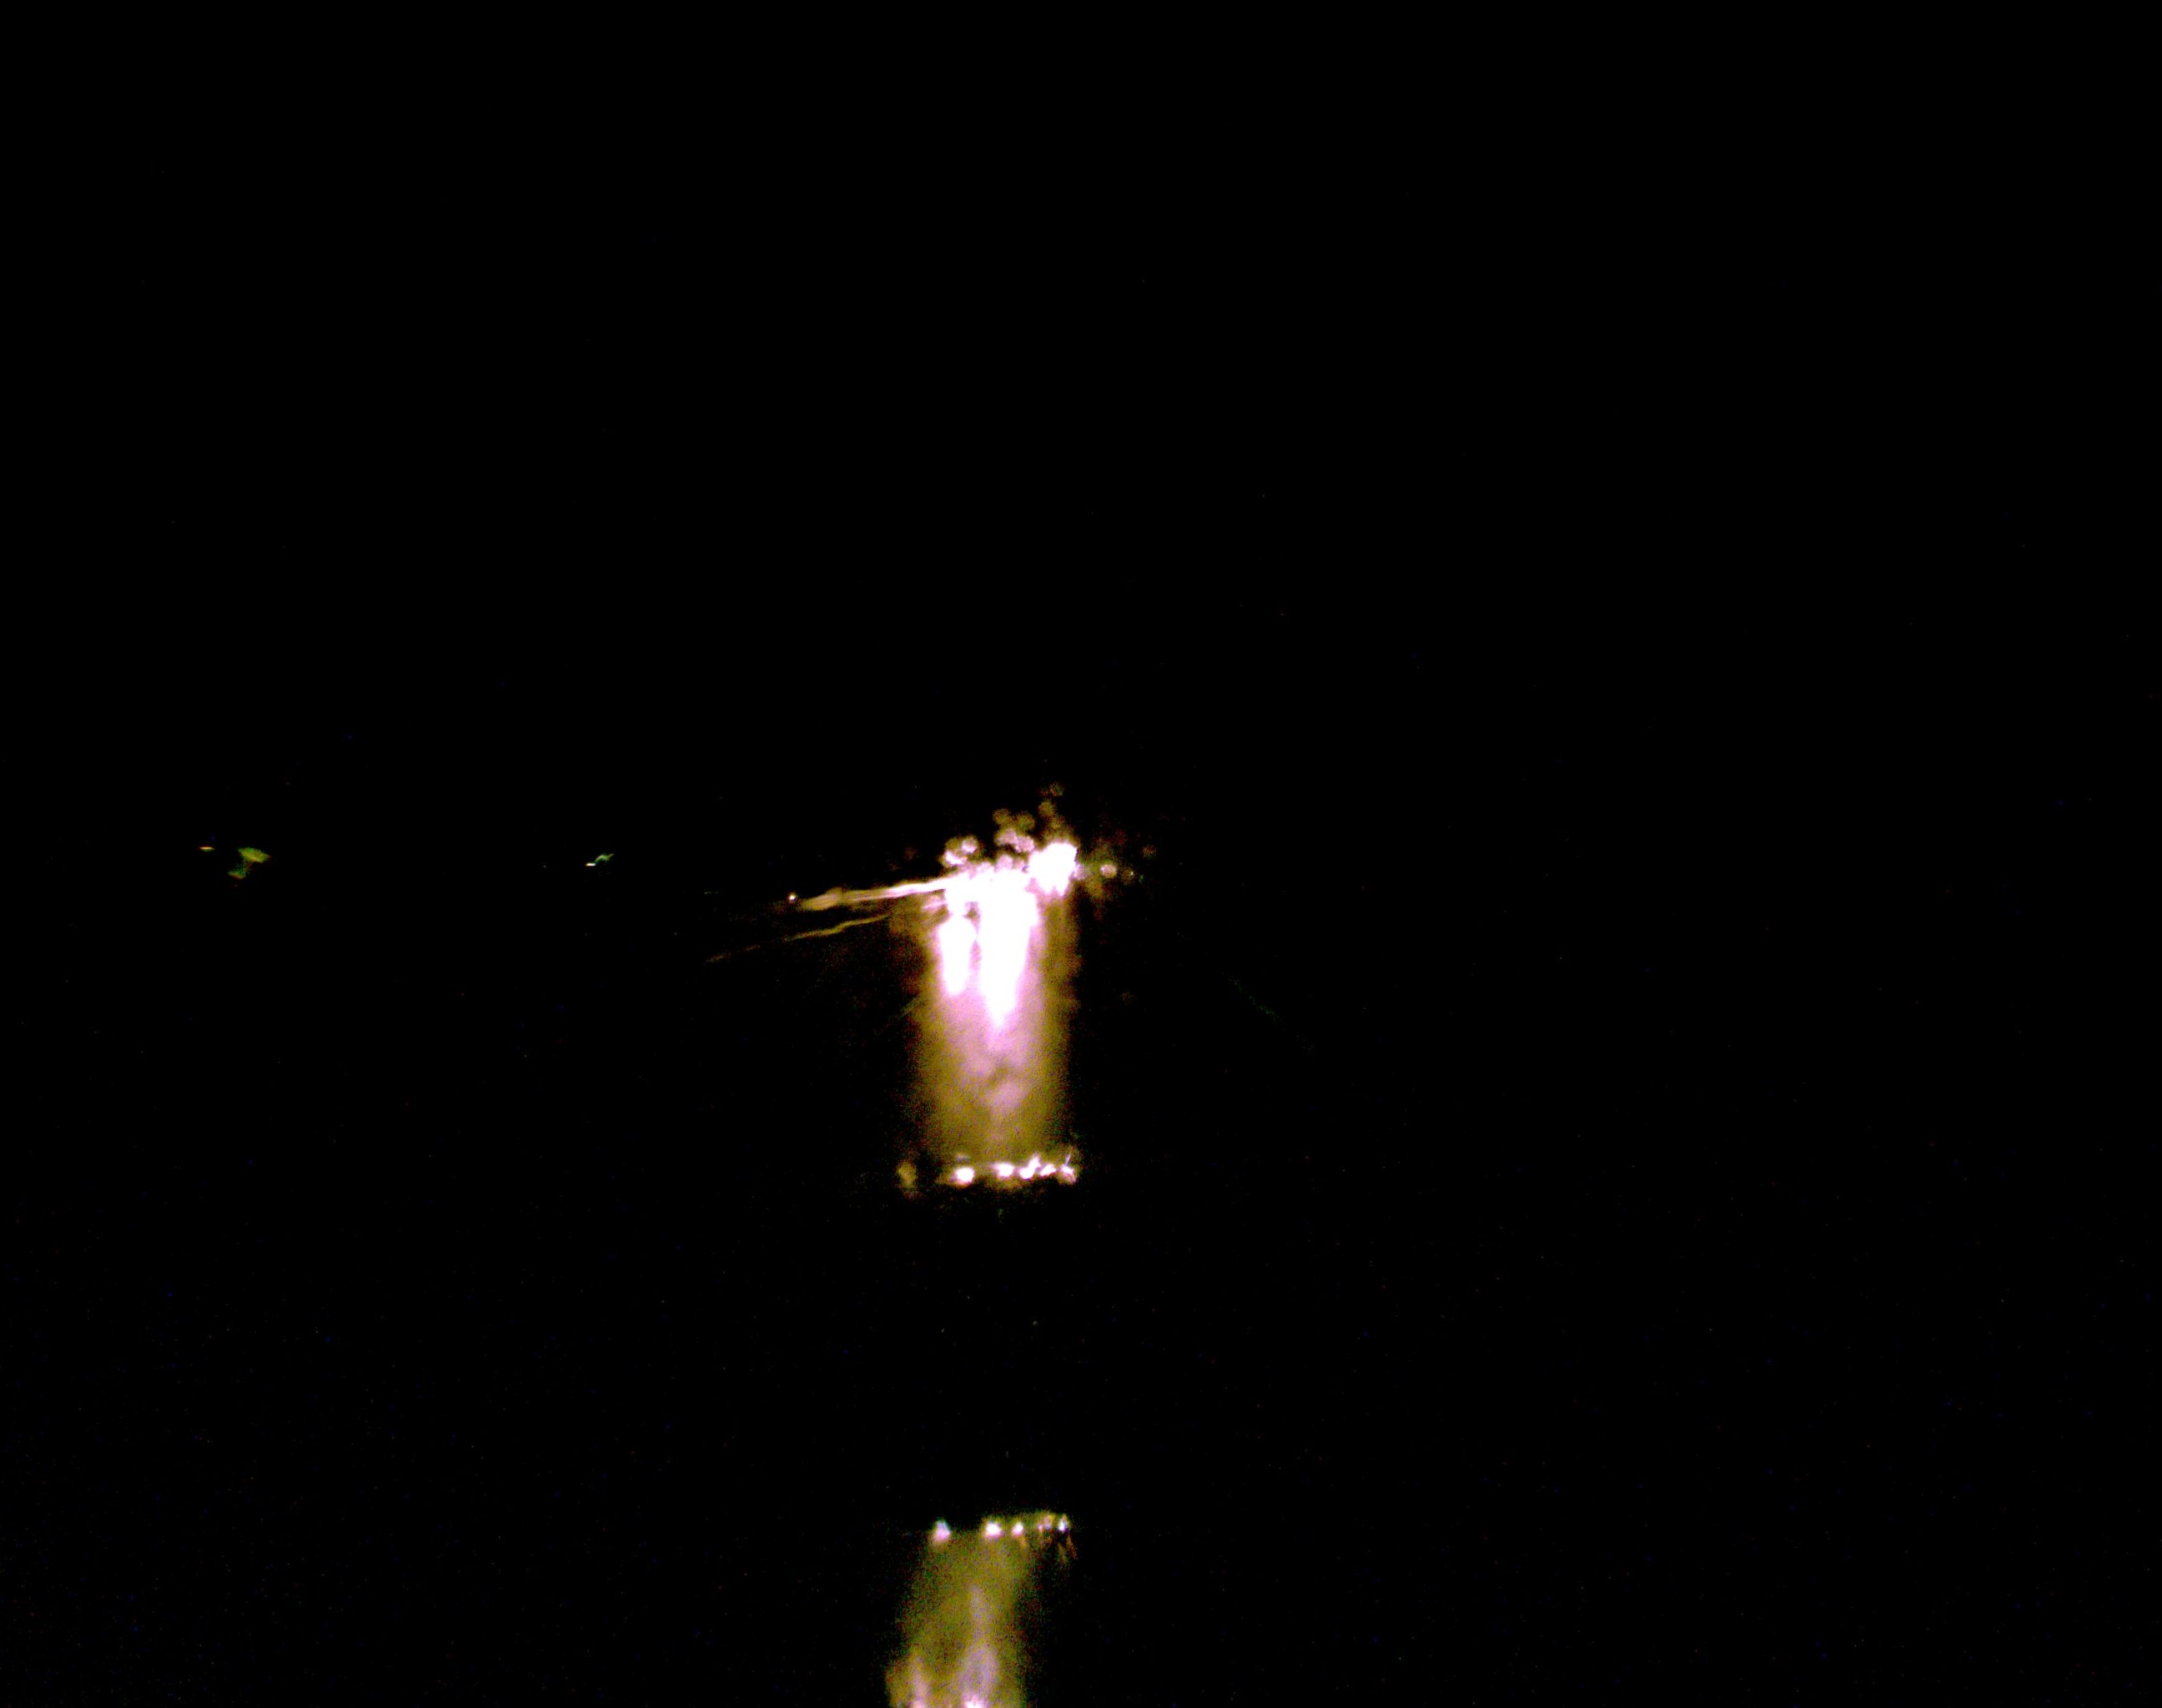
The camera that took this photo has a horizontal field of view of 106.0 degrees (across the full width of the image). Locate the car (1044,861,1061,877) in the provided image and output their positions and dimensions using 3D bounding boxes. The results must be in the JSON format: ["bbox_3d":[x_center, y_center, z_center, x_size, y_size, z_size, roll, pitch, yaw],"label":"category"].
[{"bbox_3d":[-3.023,1.583,86.901,1.478,1.616,3.561,2,0,1],"label":"car"}]

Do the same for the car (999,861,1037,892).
[{"bbox_3d":[-3.238,1.130,42.382,1.687,1.520,3.861,-1,0,0],"label":"car"}]

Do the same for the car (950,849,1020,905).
[{"bbox_3d":[-3.098,0.723,27.103,1.648,1.683,4.522,-1,0,2],"label":"car"}]
